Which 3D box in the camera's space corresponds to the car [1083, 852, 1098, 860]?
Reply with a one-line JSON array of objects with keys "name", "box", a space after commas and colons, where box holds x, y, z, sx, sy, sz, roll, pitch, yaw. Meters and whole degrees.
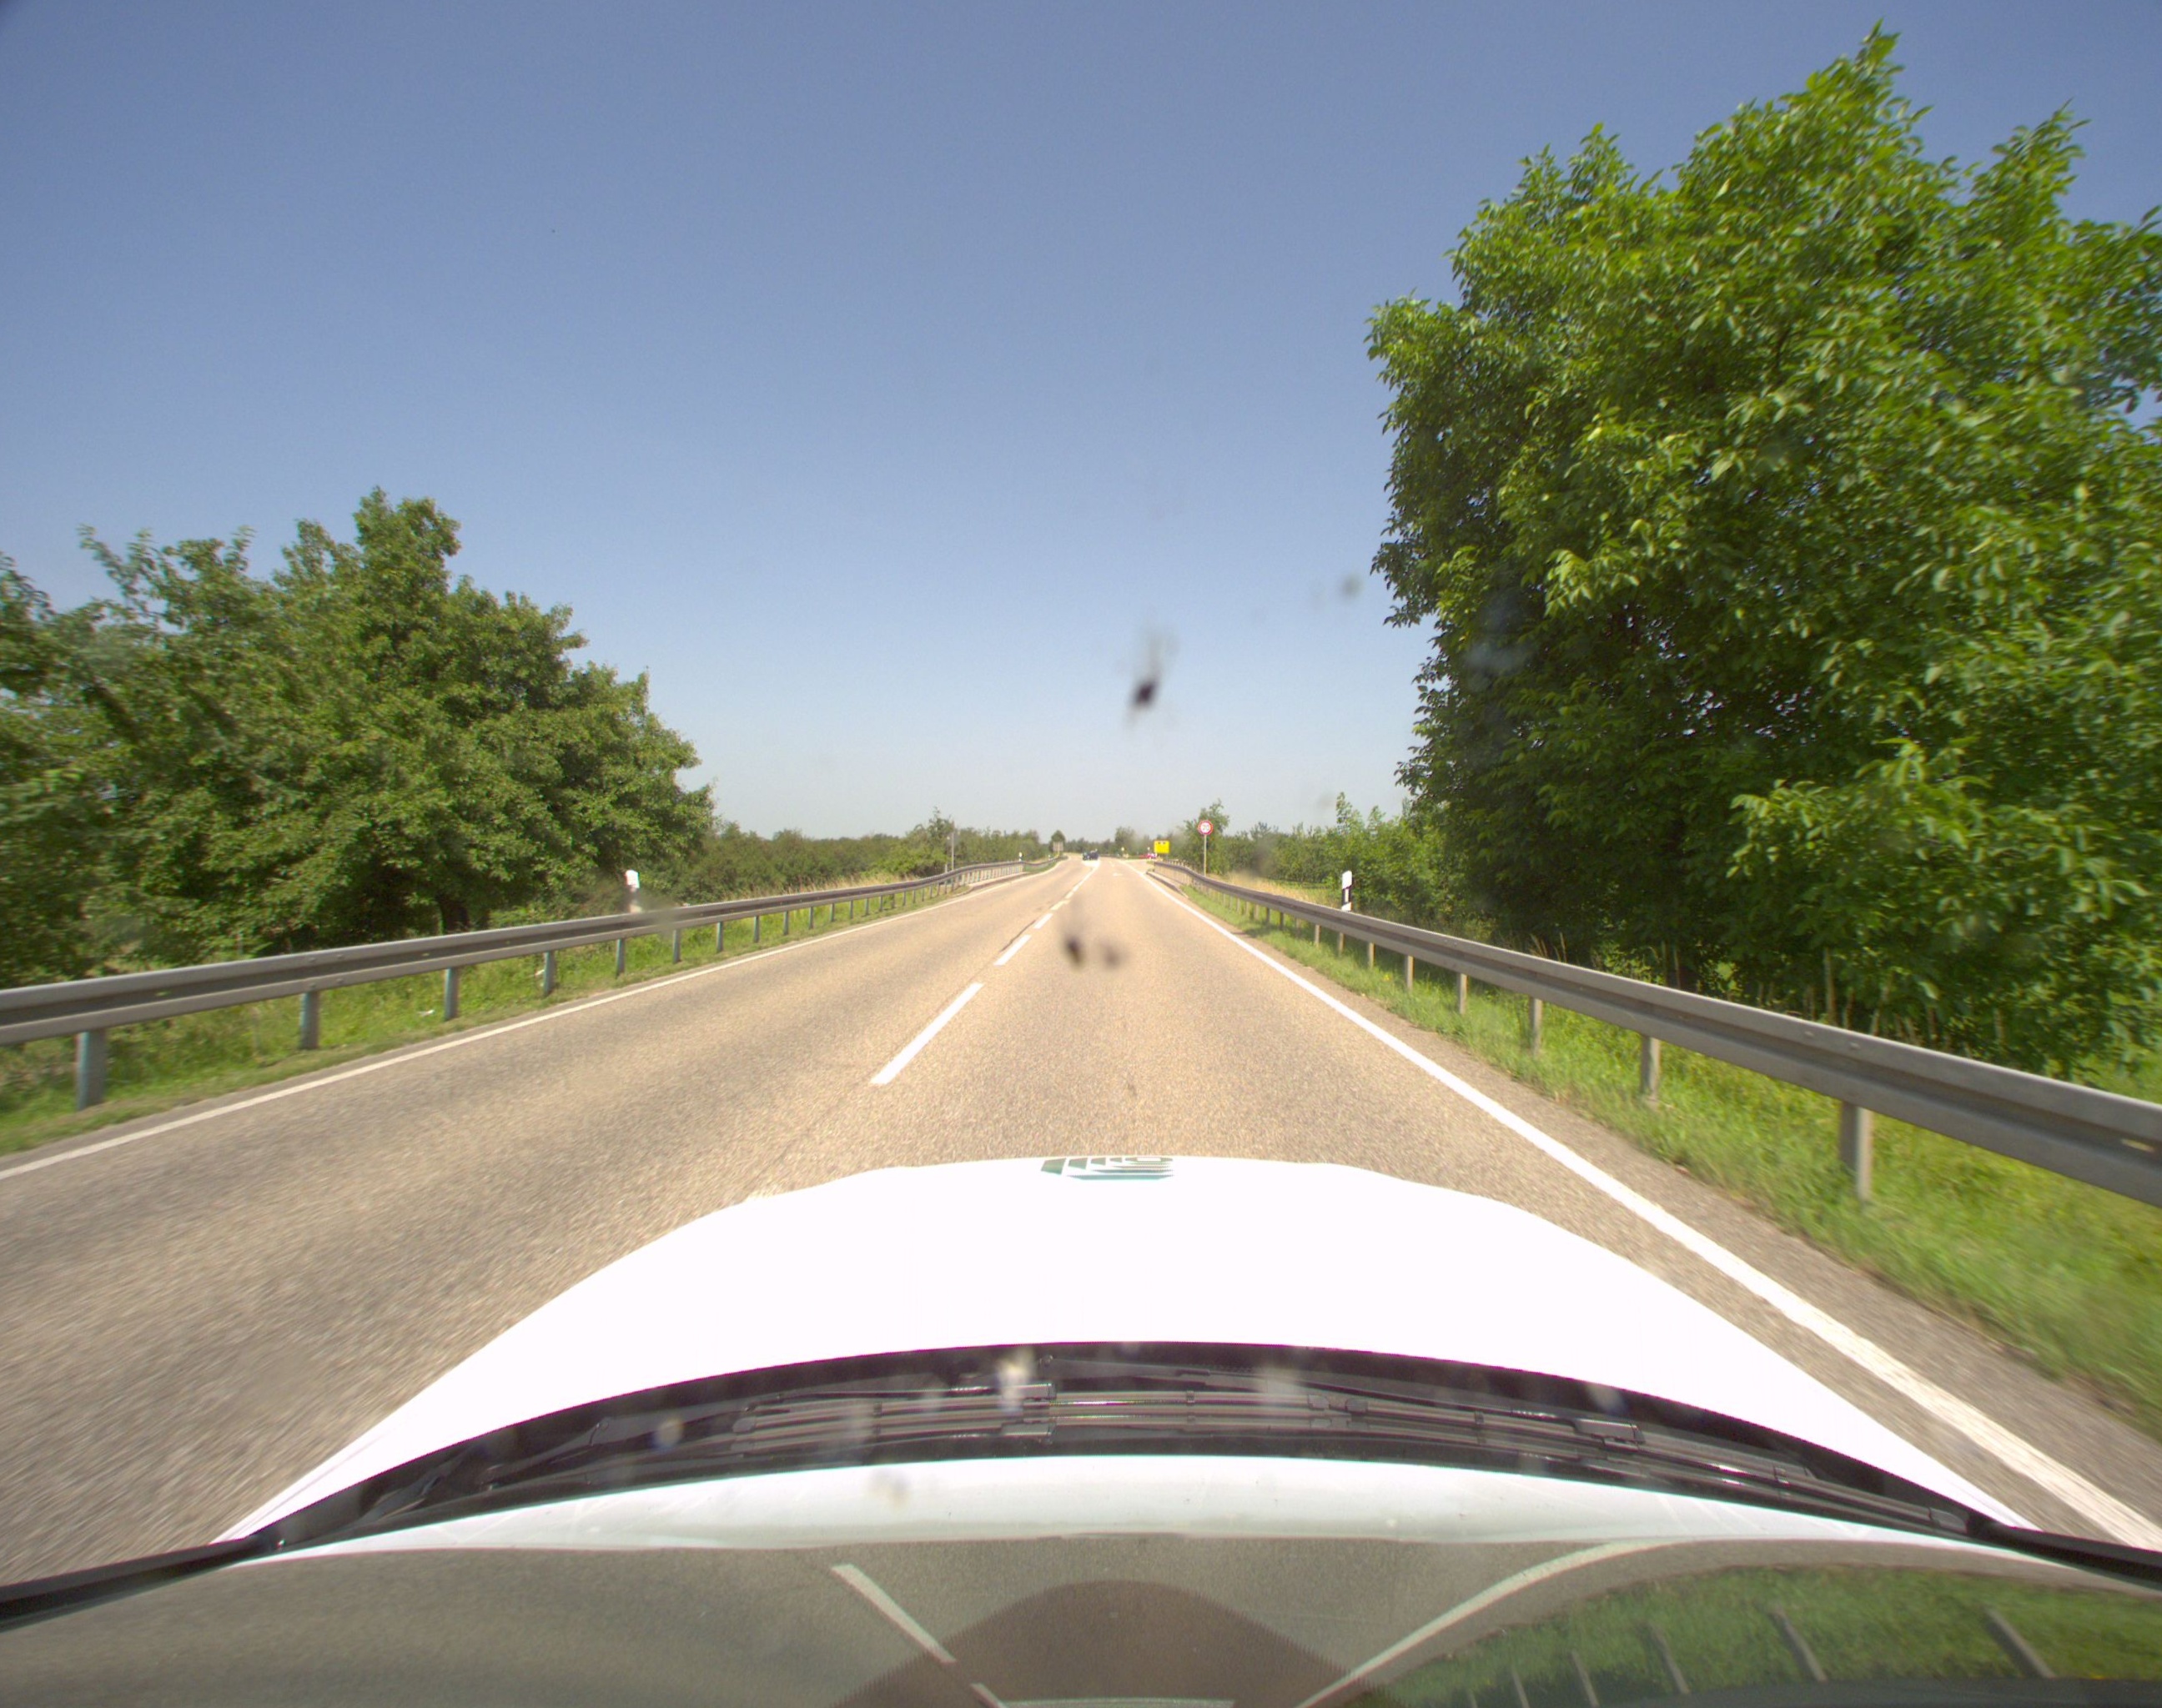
[{"name": "car", "box": [1.939, 0.433, 168.339, 1.789, 1.637, 4.831, 0, 0, 18]}]
